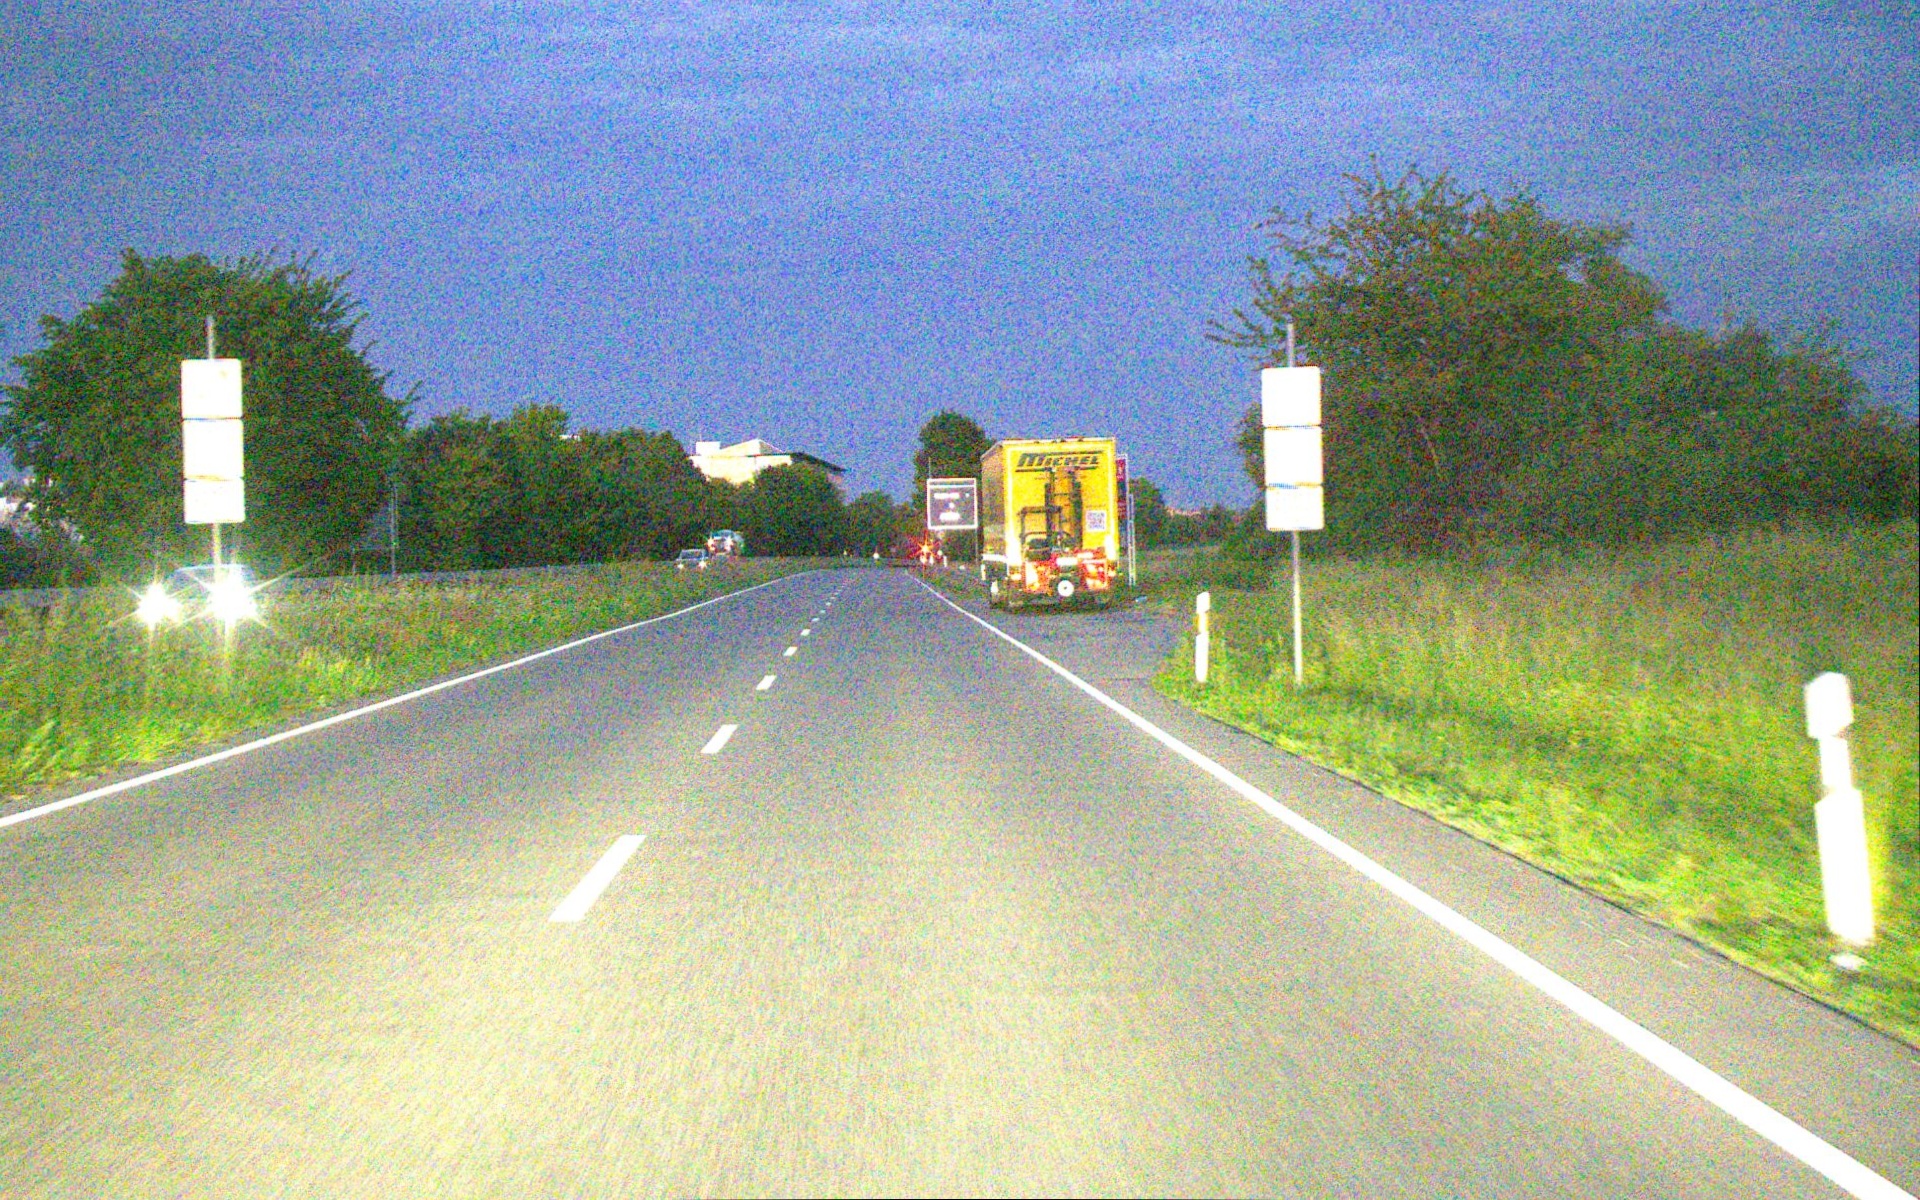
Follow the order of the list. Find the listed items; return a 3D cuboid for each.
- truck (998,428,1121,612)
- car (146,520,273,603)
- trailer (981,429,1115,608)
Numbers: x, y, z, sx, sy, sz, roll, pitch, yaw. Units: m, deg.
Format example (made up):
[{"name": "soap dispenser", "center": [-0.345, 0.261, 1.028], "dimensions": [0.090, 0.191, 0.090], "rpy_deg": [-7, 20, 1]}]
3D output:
[{"name": "truck", "center": [2.231, -1.851, 79.055], "dimensions": [2.579, 4.057, 6.130], "rpy_deg": [0, 1, 0]}, {"name": "car", "center": [-14.179, -0.738, 65.133], "dimensions": [1.654, 1.500, 4.000], "rpy_deg": [1, 1, -2]}, {"name": "trailer", "center": [2.069, -1.978, 85.815], "dimensions": [2.622, 4.090, 12.938], "rpy_deg": [-1, 1, -1]}]
